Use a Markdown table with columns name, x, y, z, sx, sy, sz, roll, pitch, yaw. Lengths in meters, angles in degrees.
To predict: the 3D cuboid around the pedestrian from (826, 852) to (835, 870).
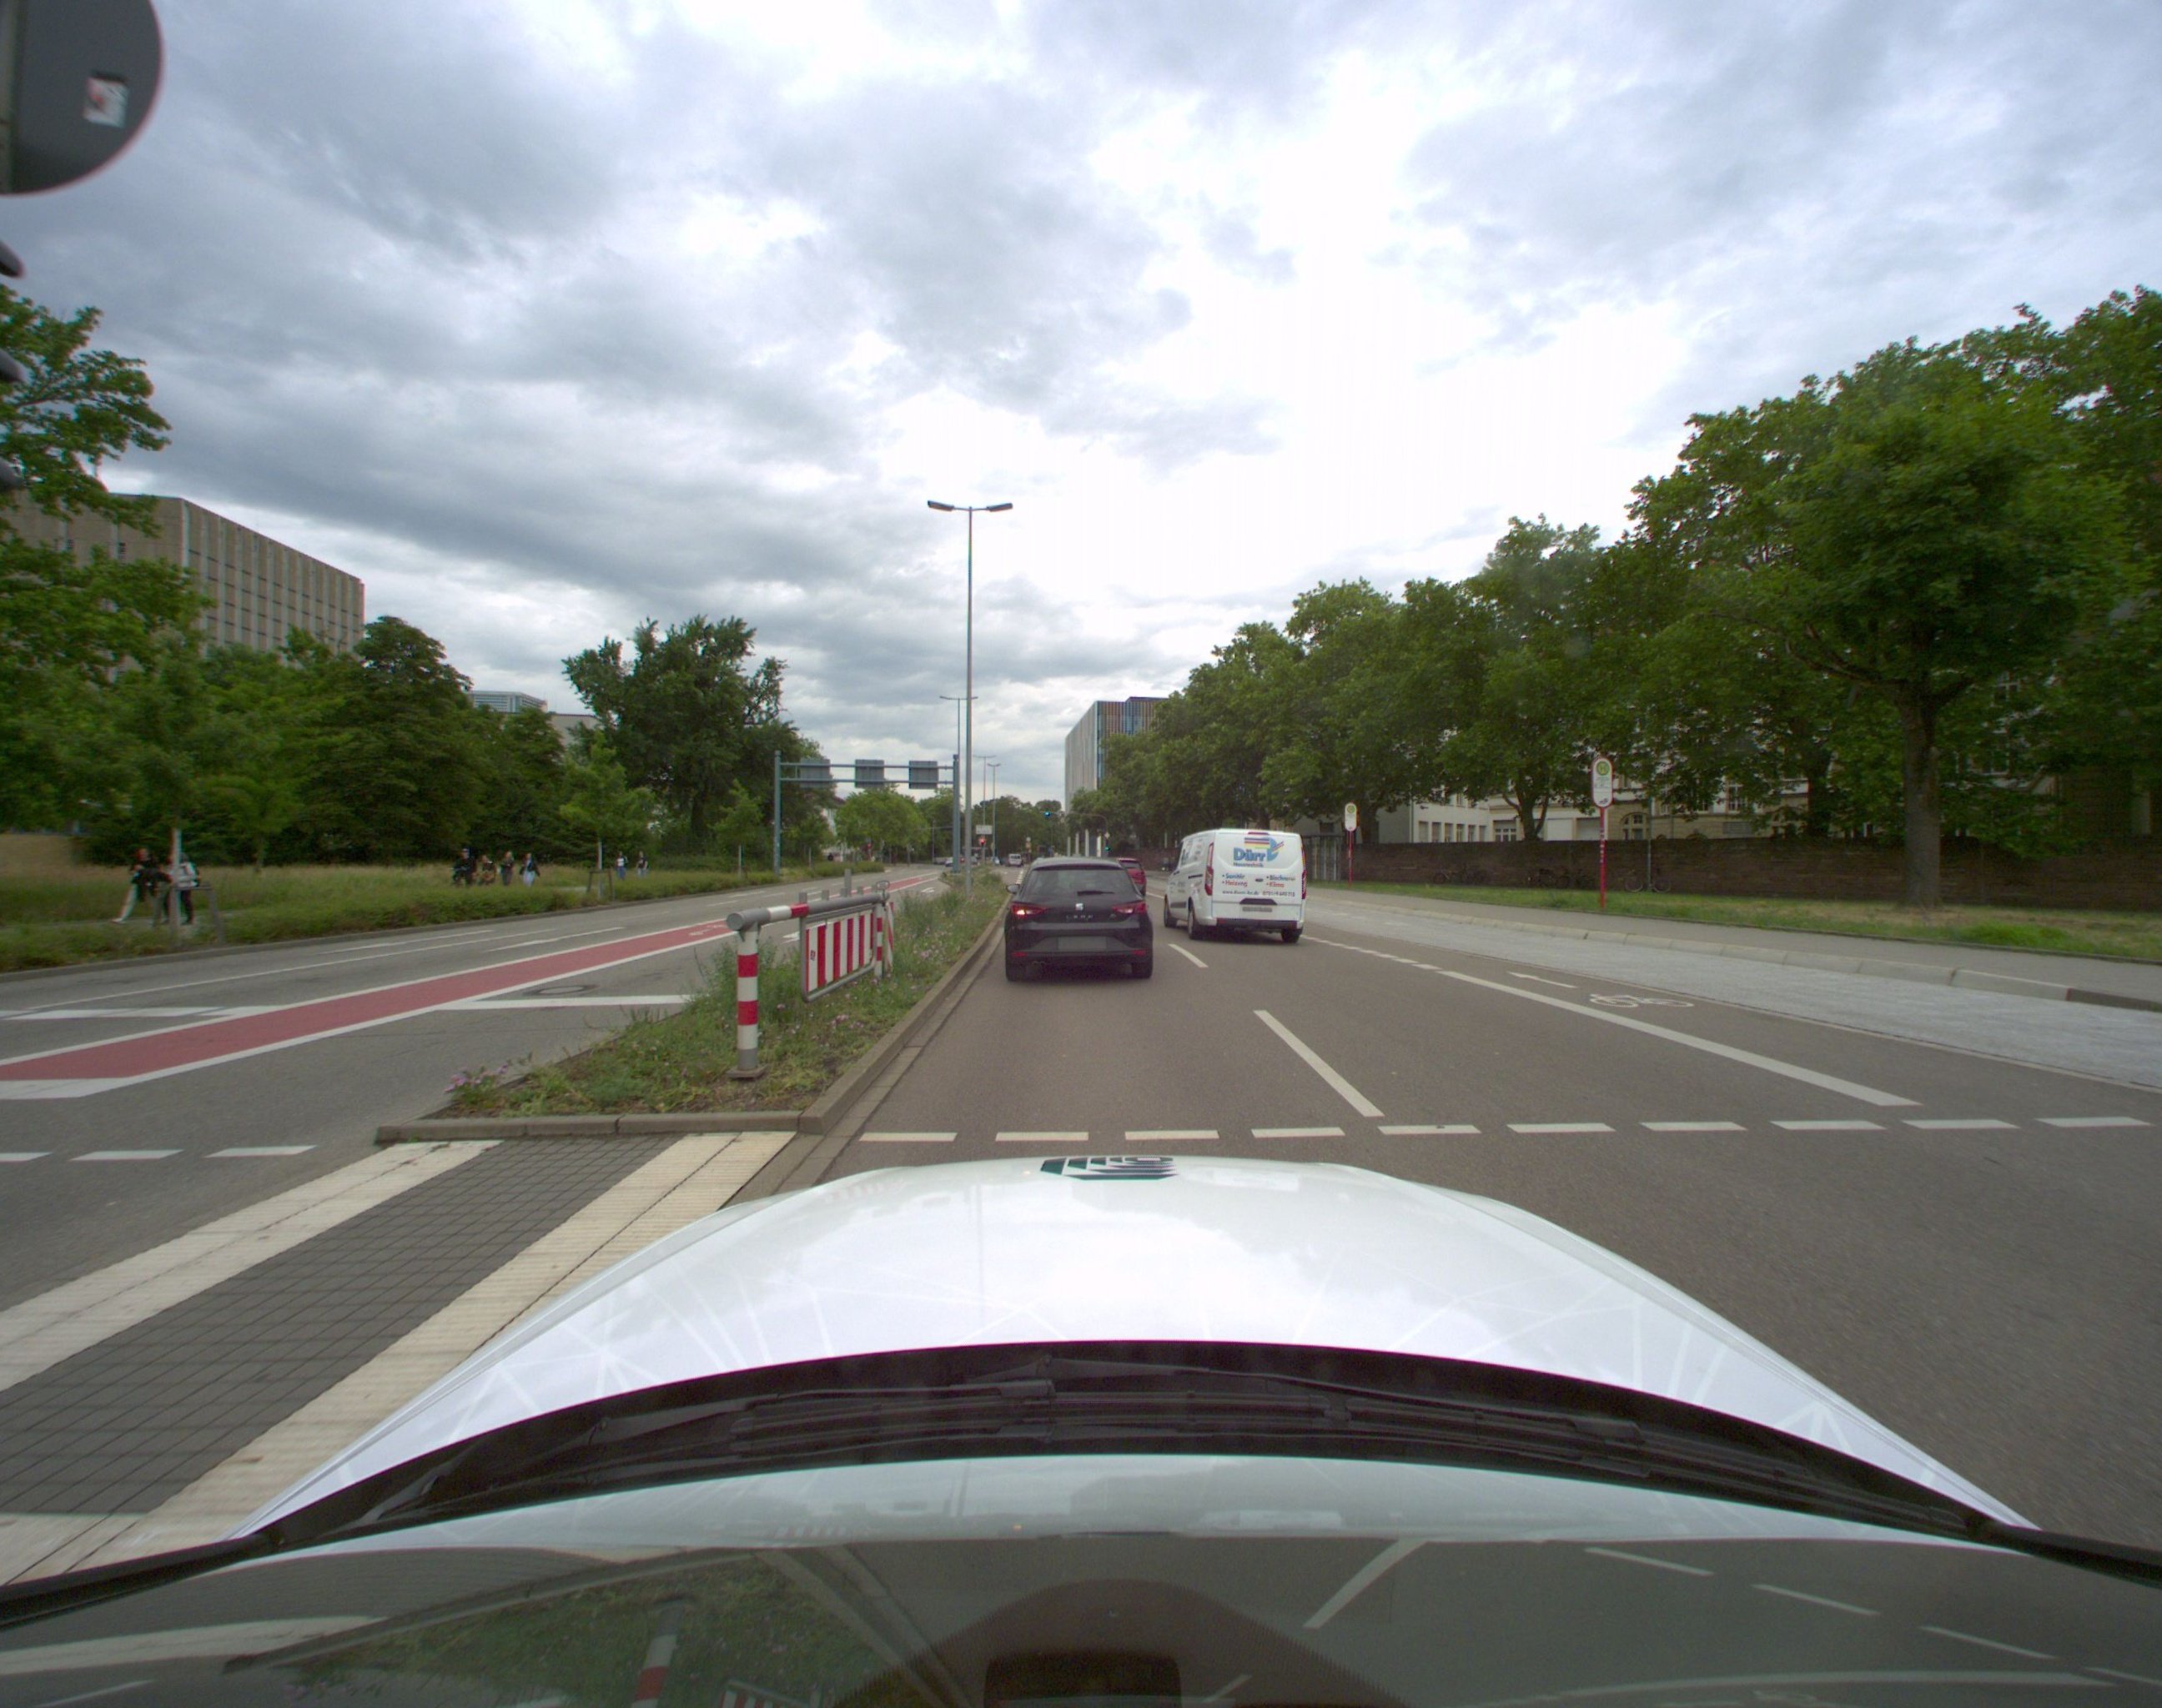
| name | x | y | z | sx | sy | sz | roll | pitch | yaw |
| --- | --- | --- | --- | --- | --- | --- | --- | --- | --- |
| pedestrian | -24.155 | 0.696 | 78.441 | 0.619 | 1.729 | 0.817 | -1 | 0 | -5 |

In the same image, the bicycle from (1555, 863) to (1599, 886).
| name | x | y | z | sx | sy | sz | roll | pitch | yaw |
| --- | --- | --- | --- | --- | --- | --- | --- | --- | --- |
| bicycle | 22.781 | 0.930 | 37.428 | 0.553 | 0.992 | 1.620 | -1 | 1 | -33 |

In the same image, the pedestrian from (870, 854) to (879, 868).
| name | x | y | z | sx | sy | sz | roll | pitch | yaw |
| --- | --- | --- | --- | --- | --- | --- | --- | --- | --- |
| pedestrian | -27.115 | 0.942 | 106.864 | 0.847 | 1.740 | 0.820 | 2 | -5 | -43 |

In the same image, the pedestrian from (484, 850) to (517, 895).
| name | x | y | z | sx | sy | sz | roll | pitch | yaw |
| --- | --- | --- | --- | --- | --- | --- | --- | --- | --- |
| pedestrian | -21.901 | 0.689 | 30.729 | 0.707 | 1.672 | 0.765 | -1 | 0 | -10 |

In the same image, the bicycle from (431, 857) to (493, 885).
| name | x | y | z | sx | sy | sz | roll | pitch | yaw |
| --- | --- | --- | --- | --- | --- | --- | --- | --- | --- |
| bicycle | -20.718 | 0.561 | 27.296 | 0.658 | 0.888 | 1.717 | -1 | 1 | 4 |

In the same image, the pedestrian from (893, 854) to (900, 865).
| name | x | y | z | sx | sy | sz | roll | pitch | yaw |
| --- | --- | --- | --- | --- | --- | --- | --- | --- | --- |
| pedestrian | -26.817 | 0.797 | 118.458 | 0.875 | 1.586 | 0.541 | -1 | 0 | -11 |

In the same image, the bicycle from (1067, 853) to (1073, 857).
| name | x | y | z | sx | sy | sz | roll | pitch | yaw |
| --- | --- | --- | --- | --- | --- | --- | --- | --- | --- |
| bicycle | -2.426 | 0.300 | 180.135 | 1.241 | 0.823 | 0.478 | 3 | -1 | -26 |

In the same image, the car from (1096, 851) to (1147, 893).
| name | x | y | z | sx | sy | sz | roll | pitch | yaw |
| --- | --- | --- | --- | --- | --- | --- | --- | --- | --- |
| car | 1.654 | 0.711 | 34.481 | 1.943 | 1.624 | 3.749 | 2 | 1 | 0 |

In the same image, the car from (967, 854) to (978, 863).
| name | x | y | z | sx | sy | sz | roll | pitch | yaw |
| --- | --- | --- | --- | --- | --- | --- | --- | --- | --- |
| car | -19.122 | 0.810 | 143.105 | 1.763 | 1.460 | 4.776 | -2 | 0 | -9 |

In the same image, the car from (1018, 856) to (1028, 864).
| name | x | y | z | sx | sy | sz | roll | pitch | yaw |
| --- | --- | --- | --- | --- | --- | --- | --- | --- | --- |
| car | -9.762 | 0.992 | 136.317 | 1.504 | 1.193 | 3.155 | -1 | 1 | -8 |

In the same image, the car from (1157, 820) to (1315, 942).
| name | x | y | z | sx | sy | sz | roll | pitch | yaw |
| --- | --- | --- | --- | --- | --- | --- | --- | --- | --- |
| car | 2.799 | 0.491 | 15.756 | 1.962 | 1.972 | 4.338 | 2 | -1 | -4 |

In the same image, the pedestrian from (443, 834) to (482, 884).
| name | x | y | z | sx | sy | sz | roll | pitch | yaw |
| --- | --- | --- | --- | --- | --- | --- | --- | --- | --- |
| pedestrian | -20.725 | 0.164 | 27.293 | 0.658 | 1.631 | 0.764 | -1 | 0 | 4 |

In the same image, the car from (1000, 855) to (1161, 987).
| name | x | y | z | sx | sy | sz | roll | pitch | yaw |
| --- | --- | --- | --- | --- | --- | --- | --- | --- | --- |
| car | -0.009 | 0.738 | 10.768 | 1.747 | 1.432 | 3.768 | 0 | 0 | 0 |

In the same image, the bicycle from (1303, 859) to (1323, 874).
| name | x | y | z | sx | sy | sz | roll | pitch | yaw |
| --- | --- | --- | --- | --- | --- | --- | --- | --- | --- |
| bicycle | 15.135 | 0.801 | 53.076 | 0.417 | 0.942 | 1.514 | -1 | 1 | -22 |

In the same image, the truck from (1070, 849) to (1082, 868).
| name | x | y | z | sx | sy | sz | roll | pitch | yaw |
| --- | --- | --- | --- | --- | --- | --- | --- | --- | --- |
| truck | -0.655 | 0.550 | 103.791 | 1.315 | 2.243 | 3.396 | -1 | 1 | -4 |

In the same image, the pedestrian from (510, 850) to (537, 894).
| name | x | y | z | sx | sy | sz | roll | pitch | yaw |
| --- | --- | --- | --- | --- | --- | --- | --- | --- | --- |
| pedestrian | -21.166 | 0.673 | 30.935 | 0.585 | 1.660 | 0.718 | -1 | 0 | -10 |

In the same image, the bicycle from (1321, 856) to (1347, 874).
| name | x | y | z | sx | sy | sz | roll | pitch | yaw |
| --- | --- | --- | --- | --- | --- | --- | --- | --- | --- |
| bicycle | 15.794 | 0.682 | 50.836 | 0.599 | 1.104 | 1.641 | -1 | 1 | -24 |

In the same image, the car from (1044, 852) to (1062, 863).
| name | x | y | z | sx | sy | sz | roll | pitch | yaw |
| --- | --- | --- | --- | --- | --- | --- | --- | --- | --- |
| car | -3.523 | 0.425 | 102.030 | 1.897 | 1.354 | 3.872 | -1 | 1 | -8 |

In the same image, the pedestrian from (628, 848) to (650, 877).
| name | x | y | z | sx | sy | sz | roll | pitch | yaw |
| --- | --- | --- | --- | --- | --- | --- | --- | --- | --- |
| pedestrian | -20.768 | 0.394 | 38.261 | 0.644 | 1.358 | 0.710 | -1 | 0 | -6 |

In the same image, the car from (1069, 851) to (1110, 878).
| name | x | y | z | sx | sy | sz | roll | pitch | yaw |
| --- | --- | --- | --- | --- | --- | --- | --- | --- | --- |
| car | 0.545 | 0.645 | 54.251 | 1.915 | 1.664 | 4.099 | -1 | 1 | -11 |

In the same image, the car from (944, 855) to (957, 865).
| name | x | y | z | sx | sy | sz | roll | pitch | yaw |
| --- | --- | --- | --- | --- | --- | --- | --- | --- | --- |
| car | -19.957 | 0.896 | 125.049 | 1.605 | 1.381 | 3.803 | -1 | 1 | -4 |

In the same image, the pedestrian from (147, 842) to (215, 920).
| name | x | y | z | sx | sy | sz | roll | pitch | yaw |
| --- | --- | --- | --- | --- | --- | --- | --- | --- | --- |
| pedestrian | -19.953 | 0.580 | 18.066 | 0.620 | 1.695 | 0.746 | -1 | 0 | -1 |

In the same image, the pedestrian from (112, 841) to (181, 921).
| name | x | y | z | sx | sy | sz | roll | pitch | yaw |
| --- | --- | --- | --- | --- | --- | --- | --- | --- | --- |
| pedestrian | -20.582 | 0.586 | 17.948 | 0.576 | 1.711 | 0.762 | -1 | 0 | 2 |

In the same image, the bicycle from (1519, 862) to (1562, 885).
| name | x | y | z | sx | sy | sz | roll | pitch | yaw |
| --- | --- | --- | --- | --- | --- | --- | --- | --- | --- |
| bicycle | 21.946 | 0.910 | 38.921 | 0.597 | 1.059 | 1.697 | -1 | 1 | -30 |

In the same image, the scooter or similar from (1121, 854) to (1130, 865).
| name | x | y | z | sx | sy | sz | roll | pitch | yaw |
| --- | --- | --- | --- | --- | --- | --- | --- | --- | --- |
| scooter or similar | 4.931 | 0.639 | 90.065 | 0.428 | 1.179 | 1.712 | -2 | 0 | 20 |

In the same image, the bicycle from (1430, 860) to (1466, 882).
| name | x | y | z | sx | sy | sz | roll | pitch | yaw |
| --- | --- | --- | --- | --- | --- | --- | --- | --- | --- |
| bicycle | 19.585 | 0.878 | 43.463 | 0.597 | 1.136 | 1.697 | -1 | 1 | -30 |

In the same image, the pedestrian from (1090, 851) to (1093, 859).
| name | x | y | z | sx | sy | sz | roll | pitch | yaw |
| --- | --- | --- | --- | --- | --- | --- | --- | --- | --- |
| pedestrian | 1.759 | 0.197 | 142.136 | 0.470 | 1.361 | 0.446 | -1 | 0 | 6 |

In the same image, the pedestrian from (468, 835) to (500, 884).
| name | x | y | z | sx | sy | sz | roll | pitch | yaw |
| --- | --- | --- | --- | --- | --- | --- | --- | --- | --- |
| pedestrian | -20.049 | 0.177 | 27.345 | 0.572 | 1.609 | 0.617 | -1 | 0 | 5 |

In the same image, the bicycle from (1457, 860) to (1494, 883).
| name | x | y | z | sx | sy | sz | roll | pitch | yaw |
| --- | --- | --- | --- | --- | --- | --- | --- | --- | --- |
| bicycle | 20.276 | 0.896 | 41.875 | 0.597 | 1.129 | 1.697 | -1 | 1 | -30 |

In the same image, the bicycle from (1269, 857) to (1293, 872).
| name | x | y | z | sx | sy | sz | roll | pitch | yaw |
| --- | --- | --- | --- | --- | --- | --- | --- | --- | --- |
| bicycle | 13.867 | 0.725 | 56.506 | 0.656 | 0.951 | 1.757 | -1 | 1 | -22 |

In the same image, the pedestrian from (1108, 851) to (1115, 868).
| name | x | y | z | sx | sy | sz | roll | pitch | yaw |
| --- | --- | --- | --- | --- | --- | --- | --- | --- | --- |
| pedestrian | 3.223 | 0.560 | 85.702 | 0.459 | 1.739 | 0.549 | -1 | 1 | -43 |

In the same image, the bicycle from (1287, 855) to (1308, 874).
| name | x | y | z | sx | sy | sz | roll | pitch | yaw |
| --- | --- | --- | --- | --- | --- | --- | --- | --- | --- |
| bicycle | 14.556 | 0.691 | 54.828 | 0.501 | 1.221 | 1.615 | -1 | 1 | -22 |

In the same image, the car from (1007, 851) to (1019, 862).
| name | x | y | z | sx | sy | sz | roll | pitch | yaw |
| --- | --- | --- | --- | --- | --- | --- | --- | --- | --- |
| car | -9.809 | 0.396 | 118.021 | 1.692 | 1.503 | 4.004 | -1 | 1 | -4 |

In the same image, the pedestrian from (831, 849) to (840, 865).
| name | x | y | z | sx | sy | sz | roll | pitch | yaw |
| --- | --- | --- | --- | --- | --- | --- | --- | --- | --- |
| pedestrian | -25.188 | 0.327 | 83.504 | 0.699 | 1.636 | 0.670 | -1 | 0 | -5 |

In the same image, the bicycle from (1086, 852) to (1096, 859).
| name | x | y | z | sx | sy | sz | roll | pitch | yaw |
| --- | --- | --- | --- | --- | --- | --- | --- | --- | --- |
| bicycle | 1.871 | 0.274 | 151.365 | 1.787 | 1.211 | 0.563 | -2 | 1 | -38 |

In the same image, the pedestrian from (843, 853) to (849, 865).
| name | x | y | z | sx | sy | sz | roll | pitch | yaw |
| --- | --- | --- | --- | --- | --- | --- | --- | --- | --- |
| pedestrian | -30.637 | 0.693 | 106.136 | 0.573 | 1.527 | 0.841 | 0 | -5 | -28 |

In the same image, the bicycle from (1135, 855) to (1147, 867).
| name | x | y | z | sx | sy | sz | roll | pitch | yaw |
| --- | --- | --- | --- | --- | --- | --- | --- | --- | --- |
| bicycle | 6.113 | 0.690 | 83.062 | 0.803 | 1.174 | 1.948 | -3 | 1 | -9 |

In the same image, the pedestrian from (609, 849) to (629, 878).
| name | x | y | z | sx | sy | sz | roll | pitch | yaw |
| --- | --- | --- | --- | --- | --- | --- | --- | --- | --- |
| pedestrian | -21.733 | 0.448 | 38.309 | 0.646 | 1.362 | 0.677 | -1 | 0 | -14 |

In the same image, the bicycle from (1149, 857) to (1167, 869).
| name | x | y | z | sx | sy | sz | roll | pitch | yaw |
| --- | --- | --- | --- | --- | --- | --- | --- | --- | --- |
| bicycle | 7.343 | 0.848 | 77.749 | 0.943 | 1.073 | 1.957 | -2 | 0 | -19 |

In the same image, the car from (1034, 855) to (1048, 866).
| name | x | y | z | sx | sy | sz | roll | pitch | yaw |
| --- | --- | --- | --- | --- | --- | --- | --- | --- | --- |
| car | -5.651 | 0.887 | 114.475 | 1.614 | 1.354 | 3.990 | -1 | 1 | -7 |
